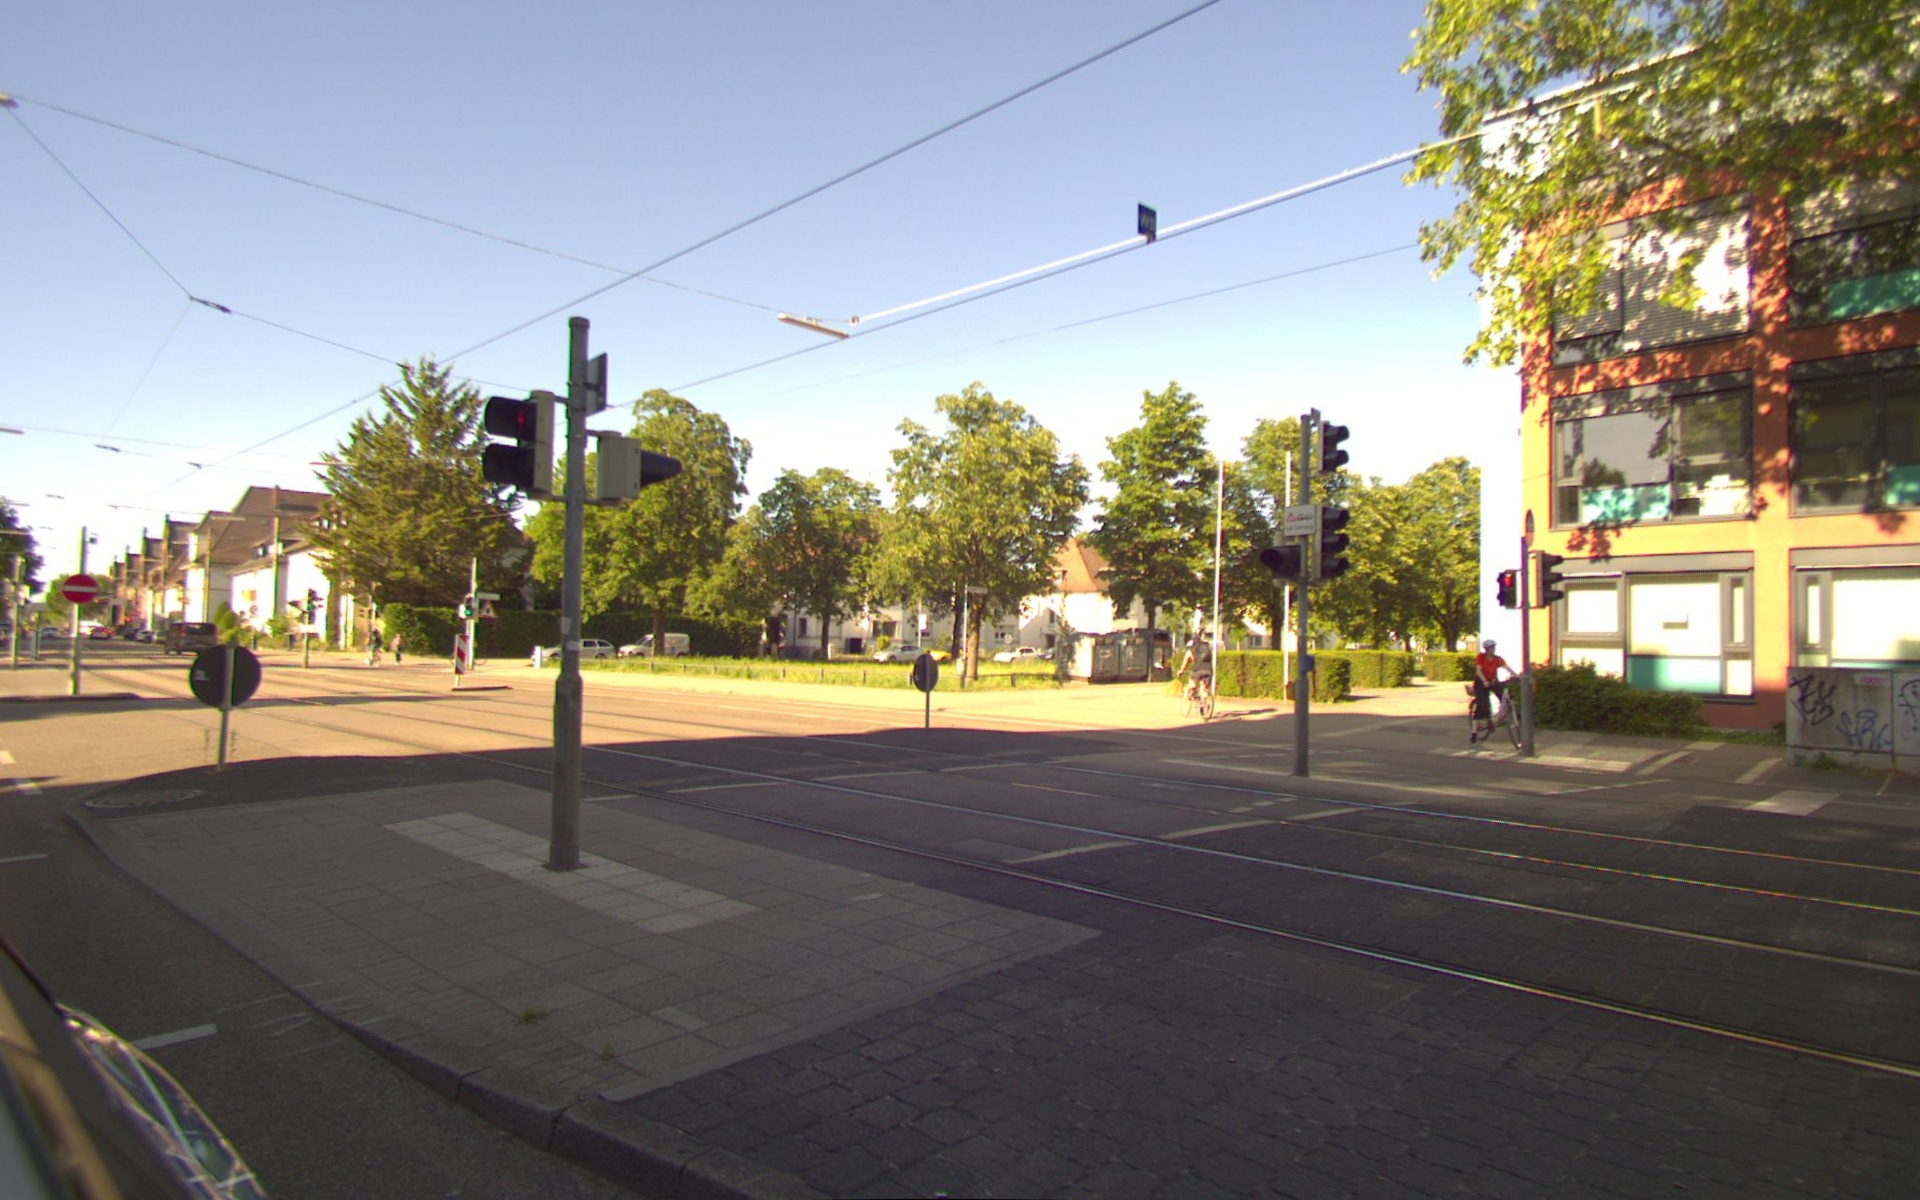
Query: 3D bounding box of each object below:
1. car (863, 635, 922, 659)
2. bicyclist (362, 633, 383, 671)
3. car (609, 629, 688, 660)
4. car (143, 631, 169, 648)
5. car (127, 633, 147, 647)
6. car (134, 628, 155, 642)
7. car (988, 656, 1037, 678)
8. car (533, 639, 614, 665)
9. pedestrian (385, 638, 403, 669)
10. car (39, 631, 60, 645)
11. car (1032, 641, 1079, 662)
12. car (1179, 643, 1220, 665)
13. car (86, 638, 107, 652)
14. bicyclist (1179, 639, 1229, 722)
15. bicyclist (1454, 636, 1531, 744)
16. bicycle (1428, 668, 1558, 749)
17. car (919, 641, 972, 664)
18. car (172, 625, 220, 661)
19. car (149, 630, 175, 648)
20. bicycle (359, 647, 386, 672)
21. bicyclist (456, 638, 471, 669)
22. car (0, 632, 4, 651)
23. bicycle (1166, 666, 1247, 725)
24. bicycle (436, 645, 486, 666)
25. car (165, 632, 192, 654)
[{"bbox_3d":[-4.986,3.497,74.887,4.135,1.756,1.819,3,-3,-40],"label":"car"},{"bbox_3d":[-27.005,2.401,46.511,0.902,1.724,0.580,-2,-5,45],"label":"bicyclist"},{"bbox_3d":[-19.265,2.741,62.687,4.247,1.881,1.819,2,-2,-40],"label":"car"},{"bbox_3d":[-86.627,4.210,109.033,1.896,1.728,4.005,0,-2,-42],"label":"car"},{"bbox_3d":[-106.794,5.154,131.361,1.895,1.728,4.006,0,-1,-41],"label":"car"},{"bbox_3d":[-96.882,4.188,120.217,1.894,1.577,4.007,0,-2,-39],"label":"car"},{"bbox_3d":[4.311,5.468,82.630,3.826,1.756,1.819,3,-3,-40],"label":"car"},{"bbox_3d":[-21.773,2.926,57.063,3.935,1.444,1.820,2,-3,-37],"label":"car"},{"bbox_3d":[-29.933,2.821,53.525,0.615,1.568,0.679,-1,-1,-1],"label":"pedestrian"},{"bbox_3d":[-116.343,4.812,129.323,1.895,1.728,4.006,0,-2,-40],"label":"car"},{"bbox_3d":[8.093,4.392,85.858,3.826,1.756,1.819,3,-3,-40],"label":"car"},{"bbox_3d":[23.262,5.255,98.373,4.117,2.110,1.819,3,-3,-40],"label":"car"},{"bbox_3d":[-109.356,5.700,128.219,1.894,1.728,4.007,0,-2,-39],"label":"car"},{"bbox_3d":[4.972,1.623,20.657,0.636,1.624,0.783,-1,-1,-20],"label":"bicyclist"},{"bbox_3d":[8.842,1.462,16.819,0.596,1.705,0.935,-1,-1,-18],"label":"bicyclist"},{"bbox_3d":[8.830,1.764,16.867,0.623,1.138,2.041,-1,-1,-18],"label":"bicycle"},{"bbox_3d":[-1.117,4.030,77.844,3.826,1.756,1.819,3,-3,-40],"label":"car"},{"bbox_3d":[-46.338,2.639,61.352,1.994,2.029,5.258,4,-5,-39],"label":"car"},{"bbox_3d":[-82.561,4.033,104.679,1.896,1.728,4.005,0,-2,-42],"label":"car"},{"bbox_3d":[-27.017,2.719,46.498,1.827,1.122,0.580,-2,-5,45],"label":"bicycle"},{"bbox_3d":[-26.540,2.858,54.059,0.550,1.635,0.900,2,-3,-35],"label":"bicyclist"},{"bbox_3d":[-80.001,3.462,83.200,1.679,1.562,4.008,0,-2,-38],"label":"car"},{"bbox_3d":[4.984,1.913,20.611,0.636,1.050,1.931,-1,-1,-19],"label":"bicycle"},{"bbox_3d":[-26.634,2.957,54.001,2.249,1.126,0.932,2,-3,-35],"label":"bicycle"},{"bbox_3d":[-72.458,3.986,93.815,1.895,1.915,4.006,0,-2,-40],"label":"car"}]
